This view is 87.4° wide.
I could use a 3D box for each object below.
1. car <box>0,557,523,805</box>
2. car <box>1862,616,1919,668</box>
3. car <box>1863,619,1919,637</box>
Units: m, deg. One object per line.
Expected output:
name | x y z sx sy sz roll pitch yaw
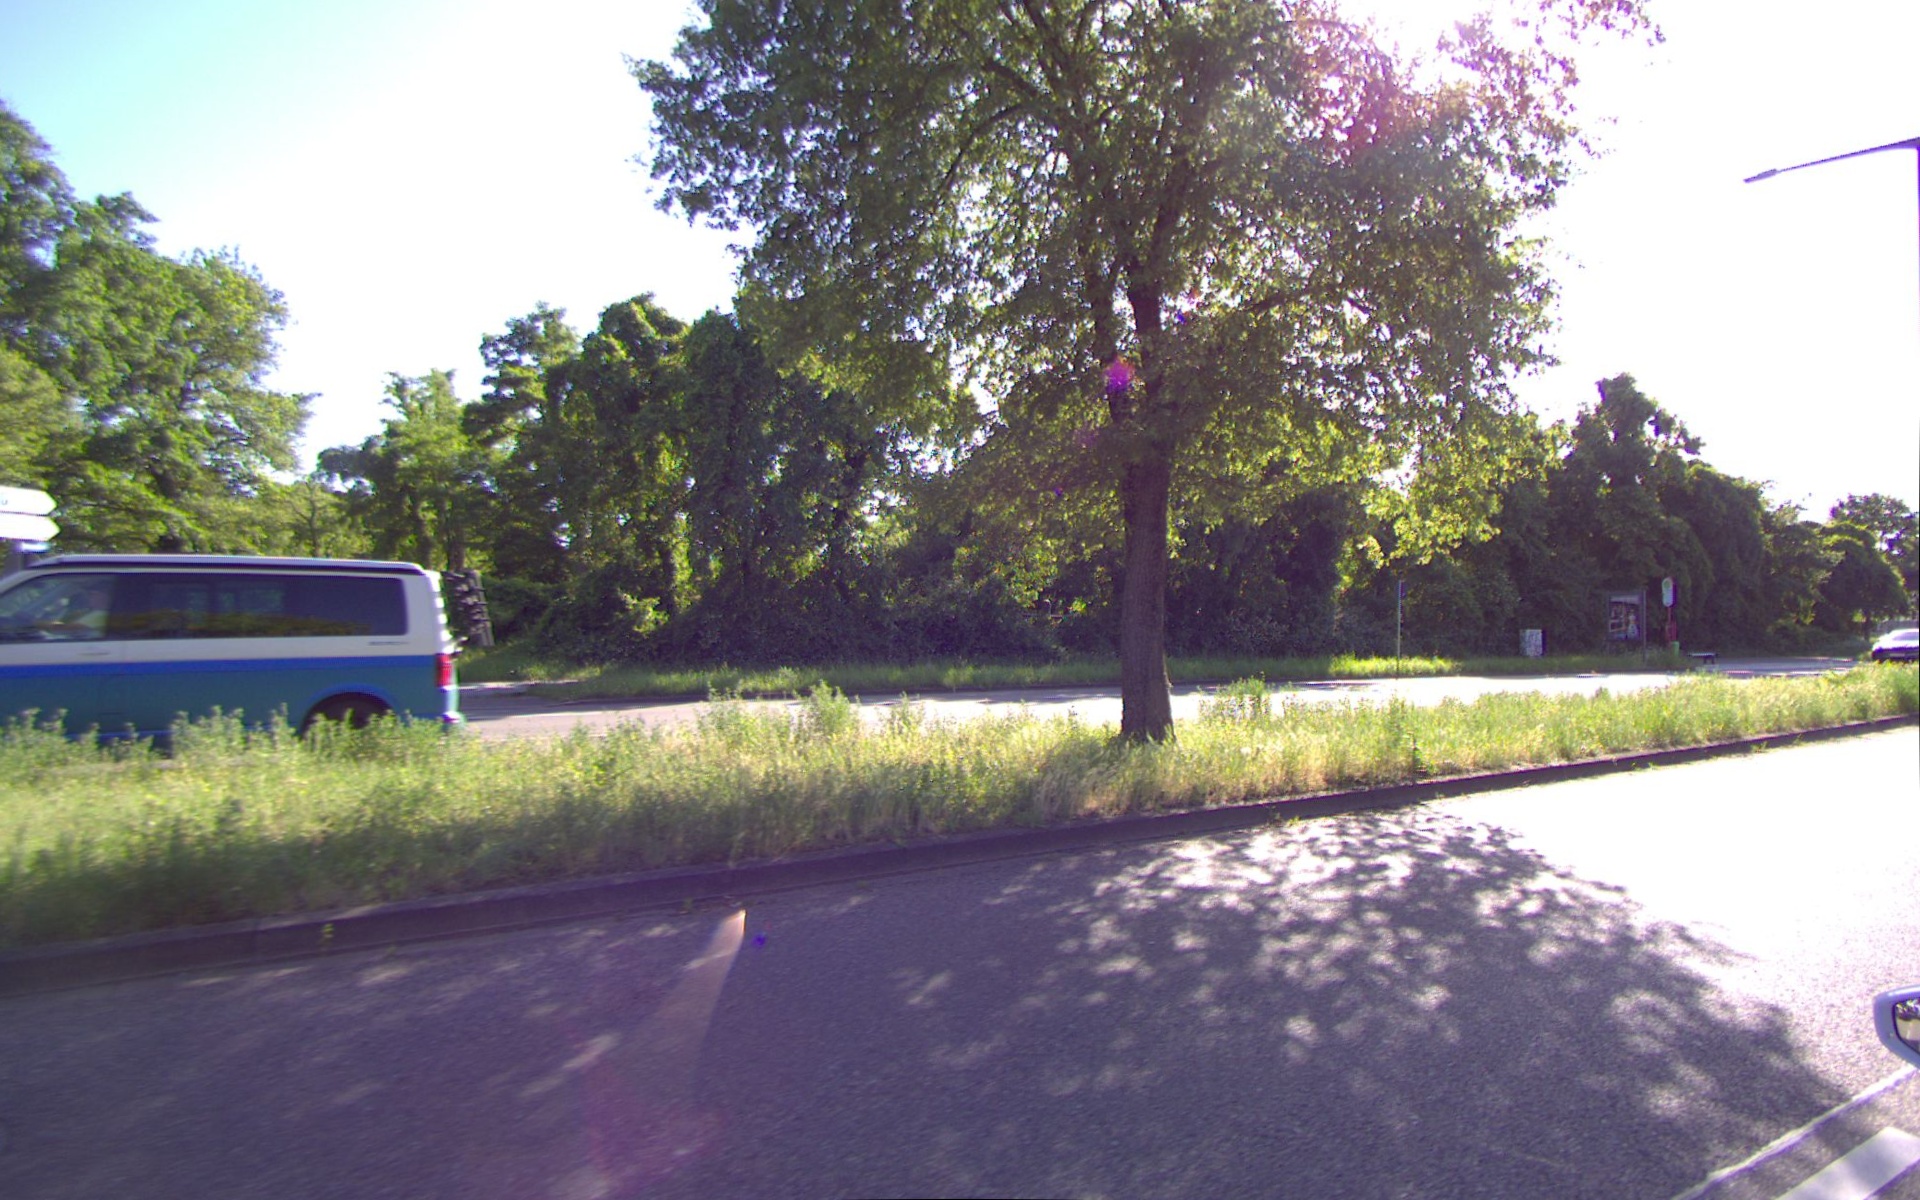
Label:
car | -7.042 0.695 9.429 5.185 1.954 1.984 2 -2 -31
car | 39.858 1.742 42.115 4.535 2.040 1.981 2 -1 -34
car | 110.012 3.306 118.509 1.974 2.040 4.768 2 -1 -27
